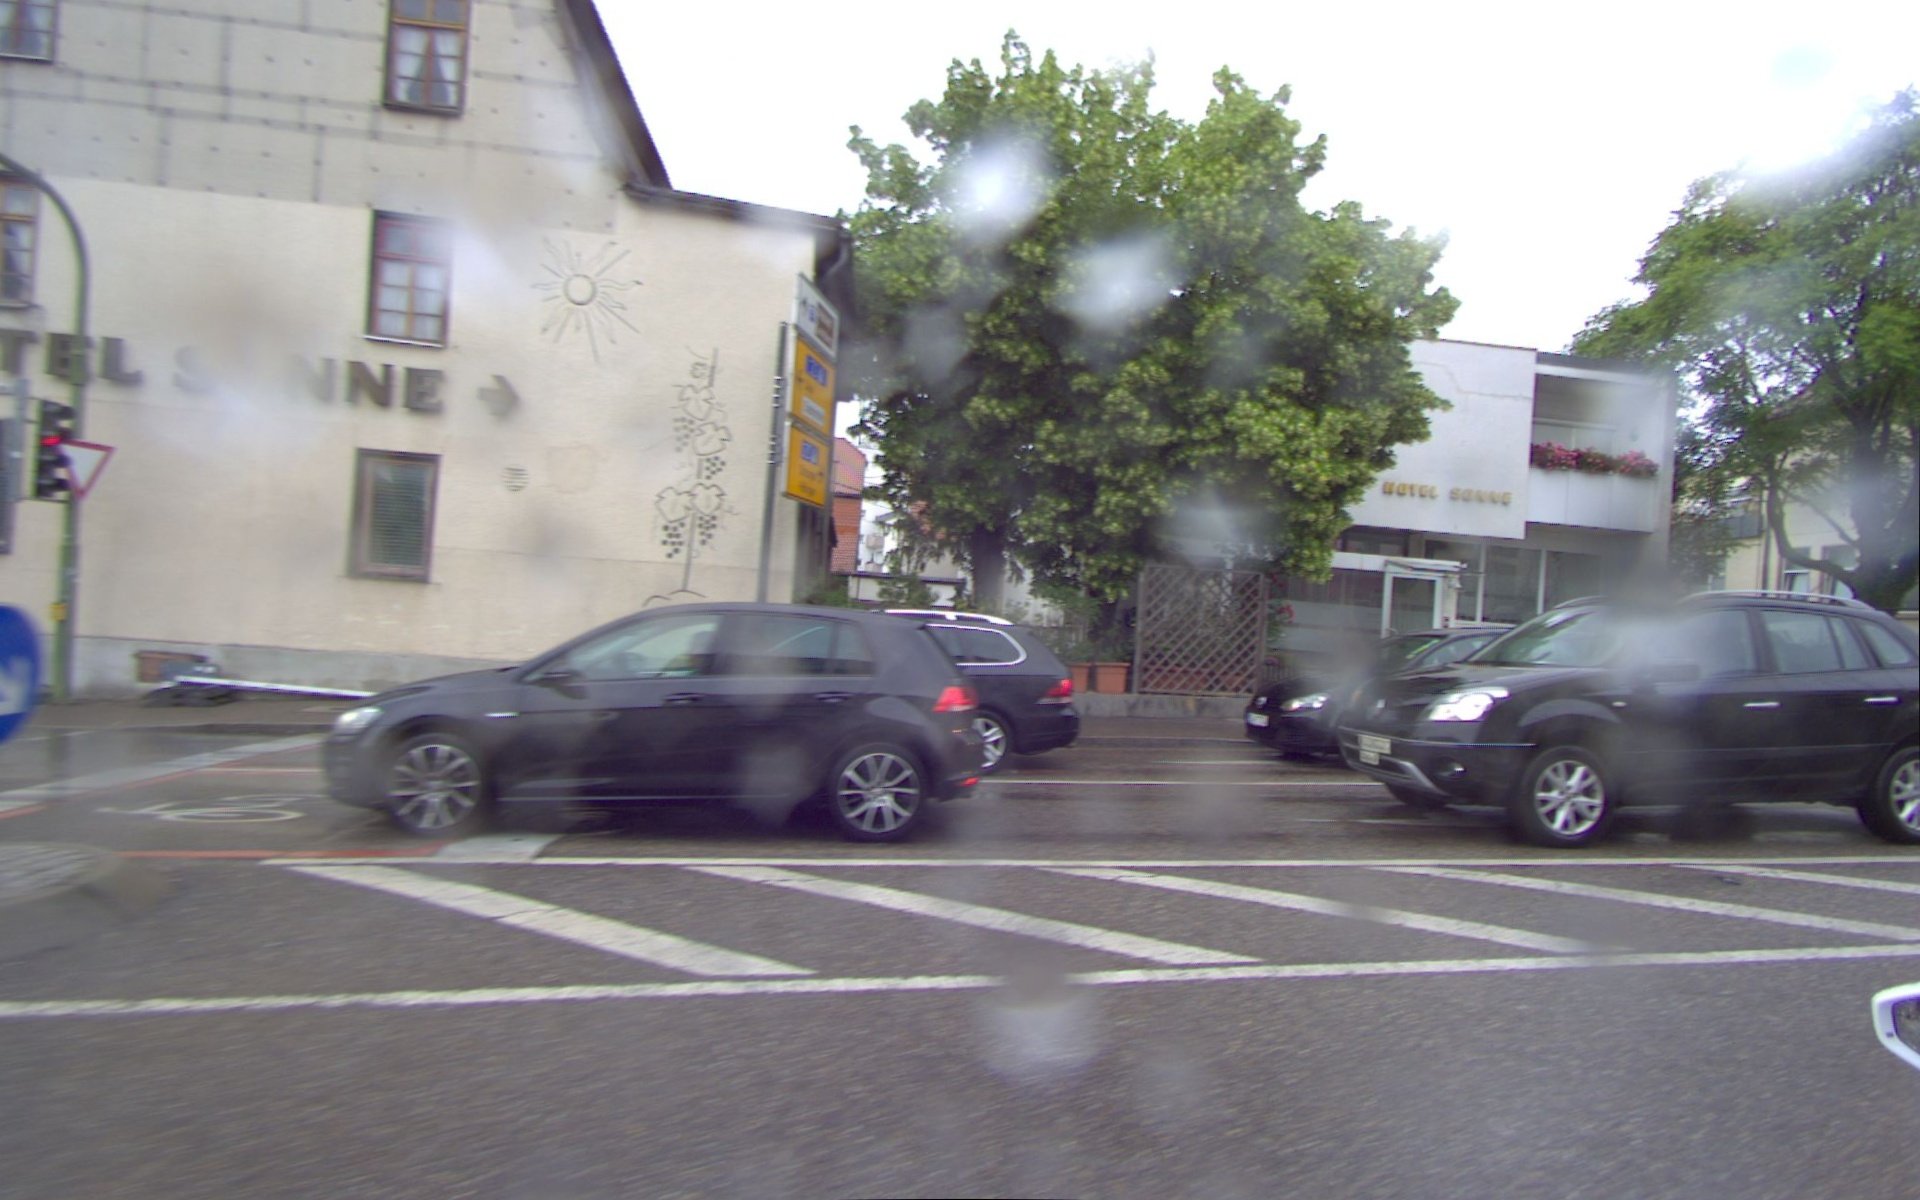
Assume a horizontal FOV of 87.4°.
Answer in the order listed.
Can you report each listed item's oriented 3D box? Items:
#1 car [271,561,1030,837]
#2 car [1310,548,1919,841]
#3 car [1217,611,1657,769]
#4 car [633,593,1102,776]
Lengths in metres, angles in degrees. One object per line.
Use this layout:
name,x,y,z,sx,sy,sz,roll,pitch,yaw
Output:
car,-1.803,0.651,6.753,4.237,1.524,1.776,2,-3,-9
car,5.035,0.682,7.476,4.236,1.839,1.777,2,-2,-8
car,5.172,0.973,11.160,4.108,1.538,1.777,2,-2,-8
car,-0.859,0.797,9.789,4.108,1.538,1.777,2,-2,-8
